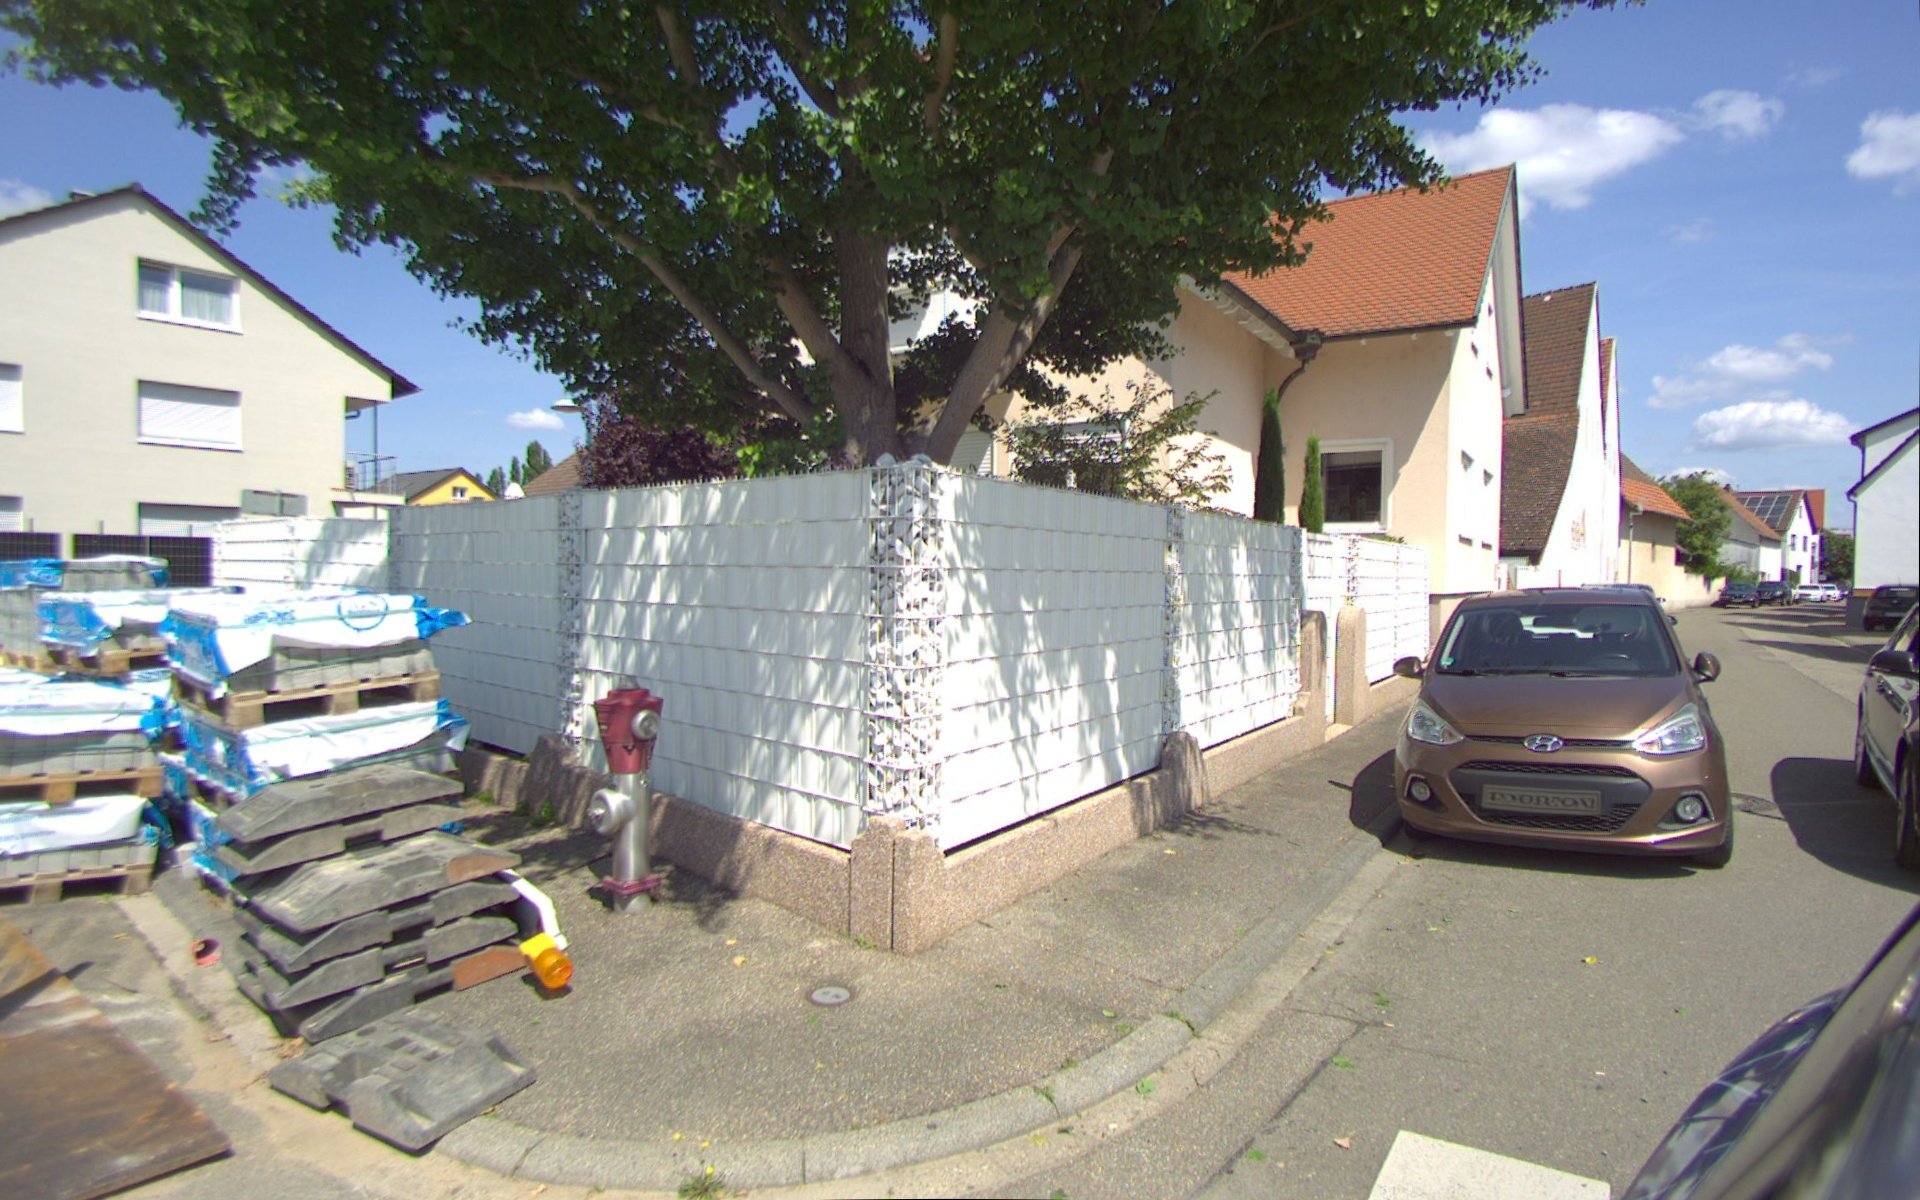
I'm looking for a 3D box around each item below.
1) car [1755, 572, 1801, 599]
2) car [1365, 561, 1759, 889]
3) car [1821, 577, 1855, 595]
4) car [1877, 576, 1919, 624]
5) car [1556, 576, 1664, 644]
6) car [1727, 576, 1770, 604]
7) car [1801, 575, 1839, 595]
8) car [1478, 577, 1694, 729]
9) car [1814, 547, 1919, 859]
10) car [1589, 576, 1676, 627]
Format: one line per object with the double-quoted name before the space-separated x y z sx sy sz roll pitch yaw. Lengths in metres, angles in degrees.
"car" 52.020 -0.912 64.327 3.934 1.629 1.782 -2 0 -43
"car" 4.121 0.569 6.944 1.705 1.552 3.988 -2 0 33
"car" 75.429 -1.203 86.948 3.972 1.519 1.782 -2 0 -43
"car" 30.426 -0.017 31.866 3.716 1.473 1.642 0 0 -37
"car" 15.389 0.156 23.856 1.890 1.382 4.677 1 2 36
"car" 45.314 -0.623 58.135 1.778 1.497 3.943 3 3 40
"car" 66.446 -1.171 78.200 3.972 1.519 1.782 -2 0 -43
"car" 7.703 0.466 12.457 1.888 1.446 4.682 1 2 33
"car" 6.562 0.601 5.980 1.777 1.554 4.648 7 3 35
"car" 20.304 -0.014 30.463 1.891 1.382 4.355 1 2 37
